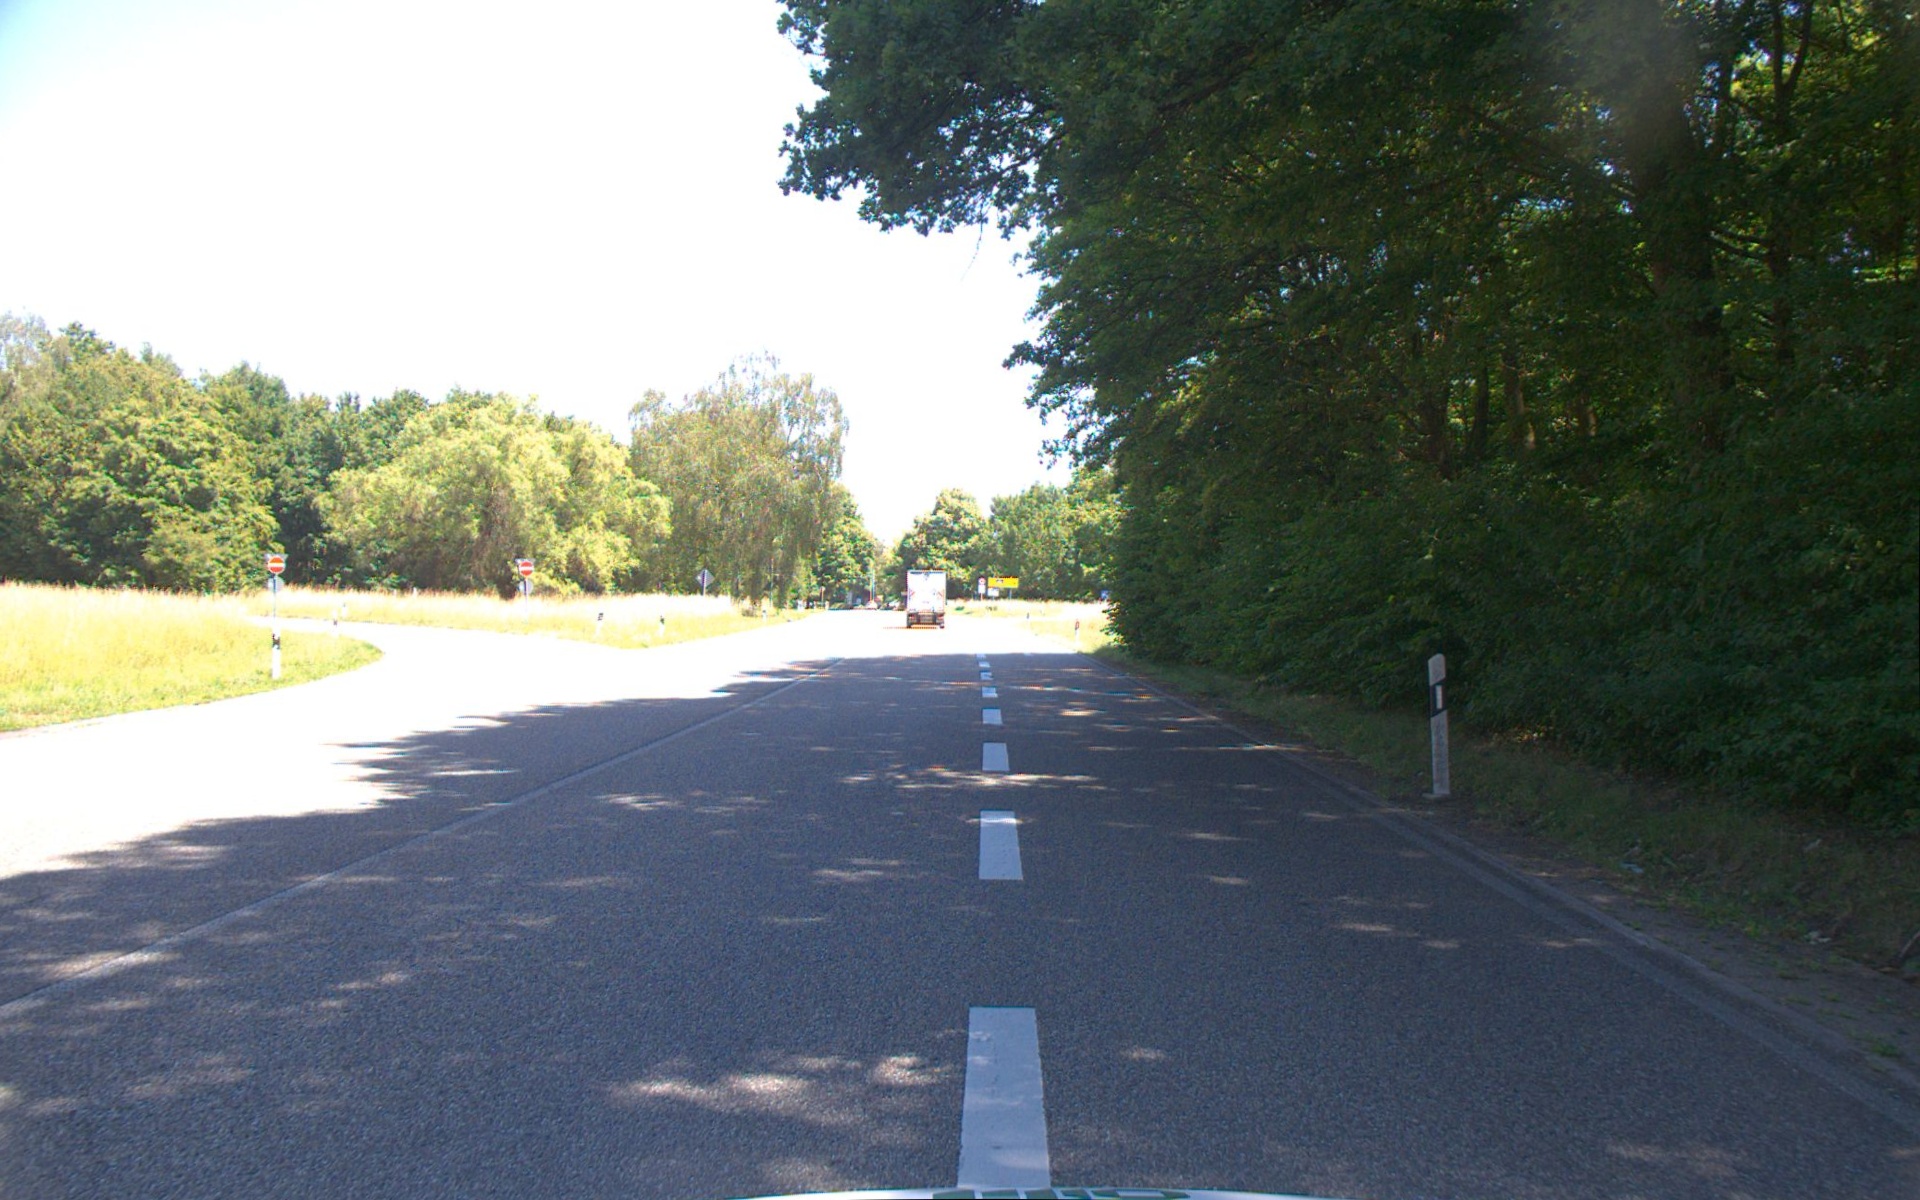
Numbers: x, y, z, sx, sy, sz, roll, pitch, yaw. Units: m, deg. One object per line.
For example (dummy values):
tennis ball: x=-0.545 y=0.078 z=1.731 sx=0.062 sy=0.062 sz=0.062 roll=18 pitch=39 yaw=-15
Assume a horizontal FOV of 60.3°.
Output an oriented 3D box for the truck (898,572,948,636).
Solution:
truck: x=-1.932 y=0.207 z=87.708 sx=2.482 sy=3.190 sz=5.360 roll=1 pitch=0 yaw=-1
